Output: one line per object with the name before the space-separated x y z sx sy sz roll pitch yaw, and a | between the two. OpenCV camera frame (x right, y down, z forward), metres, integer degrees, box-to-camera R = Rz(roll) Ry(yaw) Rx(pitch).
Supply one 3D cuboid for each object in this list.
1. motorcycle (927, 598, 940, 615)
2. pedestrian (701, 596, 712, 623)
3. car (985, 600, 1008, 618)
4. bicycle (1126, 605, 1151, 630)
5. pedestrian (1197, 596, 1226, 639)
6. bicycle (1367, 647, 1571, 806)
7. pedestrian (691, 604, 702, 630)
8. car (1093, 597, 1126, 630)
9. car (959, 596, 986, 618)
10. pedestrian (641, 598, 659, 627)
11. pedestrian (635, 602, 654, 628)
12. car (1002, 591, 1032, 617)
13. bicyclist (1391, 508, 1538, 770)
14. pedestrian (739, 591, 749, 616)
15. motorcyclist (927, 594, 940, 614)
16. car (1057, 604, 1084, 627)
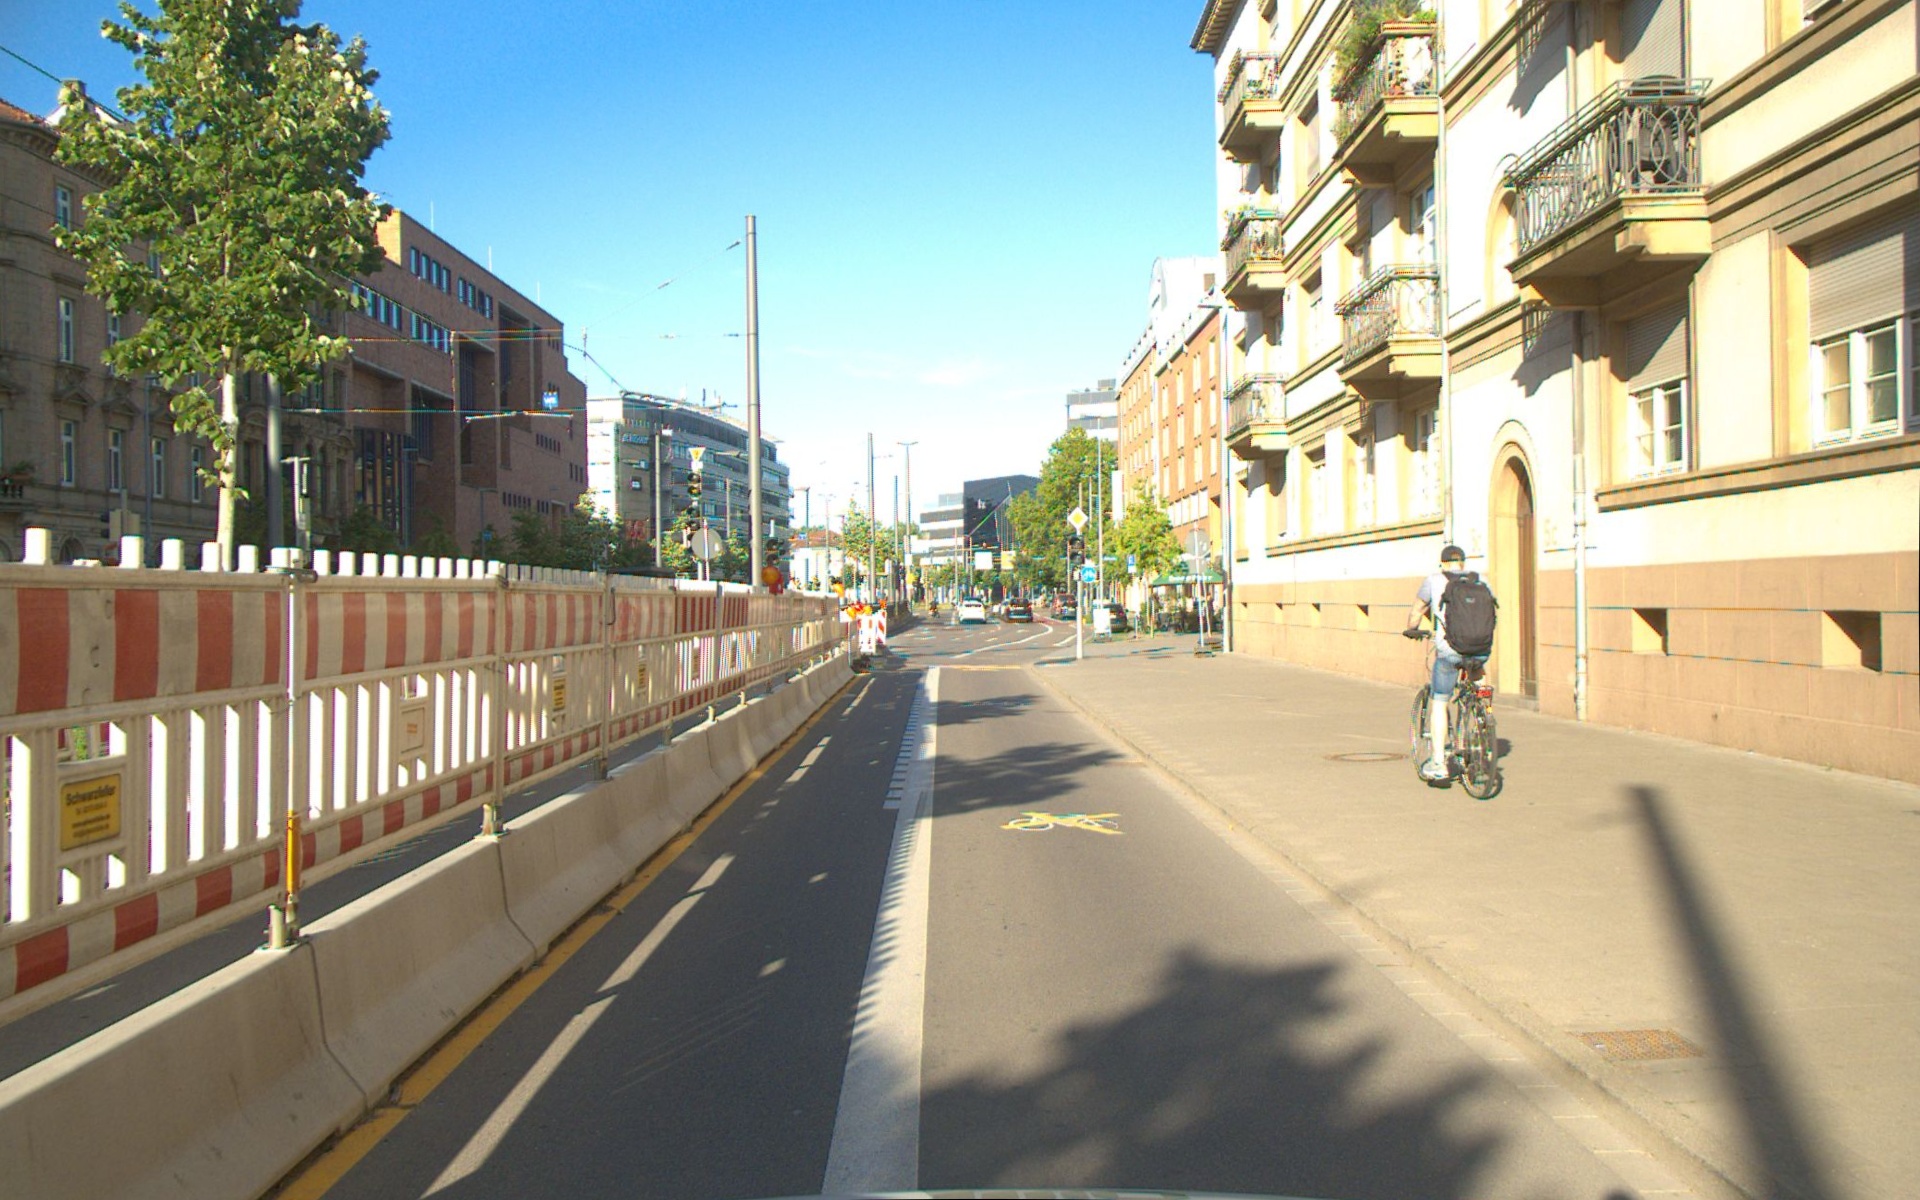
motorcycle | -2.199 0.527 137.455 0.998 1.335 2.914 1 0 0
pedestrian | -16.049 0.606 104.602 0.610 1.745 0.616 0 0 0
car | 3.115 0.761 142.273 1.813 1.524 4.378 0 0 0
bicycle | 8.480 0.851 78.463 0.750 1.100 1.996 -6 -1 -3
pedestrian | 10.775 0.728 70.904 0.867 1.794 1.104 -3 -1 26
bicycle | 3.634 0.866 12.028 0.752 0.969 2.197 -1 0 -1
pedestrian | -15.299 1.008 96.087 0.528 1.485 0.642 1 0 0
car | 8.018 0.718 88.393 1.684 1.665 4.234 -2 0 6
car | 0.826 0.450 111.736 1.744 1.439 4.818 1 0 0
pedestrian | -14.974 0.604 79.915 0.633 1.331 0.721 -3 0 0
pedestrian | -14.850 0.685 77.876 0.706 1.188 0.721 -3 0 0
car | 4.047 0.276 117.451 1.934 1.790 4.632 1 0 0
bicyclist | 3.607 0.268 11.889 0.718 1.794 0.937 -1 0 -1
pedestrian | -14.936 0.247 114.247 0.627 1.725 0.541 1 0 0
motorcyclist | -2.202 0.320 137.520 0.998 1.631 1.148 1 0 0
car | 8.634 1.214 129.845 1.809 1.588 4.633 1 1 0
